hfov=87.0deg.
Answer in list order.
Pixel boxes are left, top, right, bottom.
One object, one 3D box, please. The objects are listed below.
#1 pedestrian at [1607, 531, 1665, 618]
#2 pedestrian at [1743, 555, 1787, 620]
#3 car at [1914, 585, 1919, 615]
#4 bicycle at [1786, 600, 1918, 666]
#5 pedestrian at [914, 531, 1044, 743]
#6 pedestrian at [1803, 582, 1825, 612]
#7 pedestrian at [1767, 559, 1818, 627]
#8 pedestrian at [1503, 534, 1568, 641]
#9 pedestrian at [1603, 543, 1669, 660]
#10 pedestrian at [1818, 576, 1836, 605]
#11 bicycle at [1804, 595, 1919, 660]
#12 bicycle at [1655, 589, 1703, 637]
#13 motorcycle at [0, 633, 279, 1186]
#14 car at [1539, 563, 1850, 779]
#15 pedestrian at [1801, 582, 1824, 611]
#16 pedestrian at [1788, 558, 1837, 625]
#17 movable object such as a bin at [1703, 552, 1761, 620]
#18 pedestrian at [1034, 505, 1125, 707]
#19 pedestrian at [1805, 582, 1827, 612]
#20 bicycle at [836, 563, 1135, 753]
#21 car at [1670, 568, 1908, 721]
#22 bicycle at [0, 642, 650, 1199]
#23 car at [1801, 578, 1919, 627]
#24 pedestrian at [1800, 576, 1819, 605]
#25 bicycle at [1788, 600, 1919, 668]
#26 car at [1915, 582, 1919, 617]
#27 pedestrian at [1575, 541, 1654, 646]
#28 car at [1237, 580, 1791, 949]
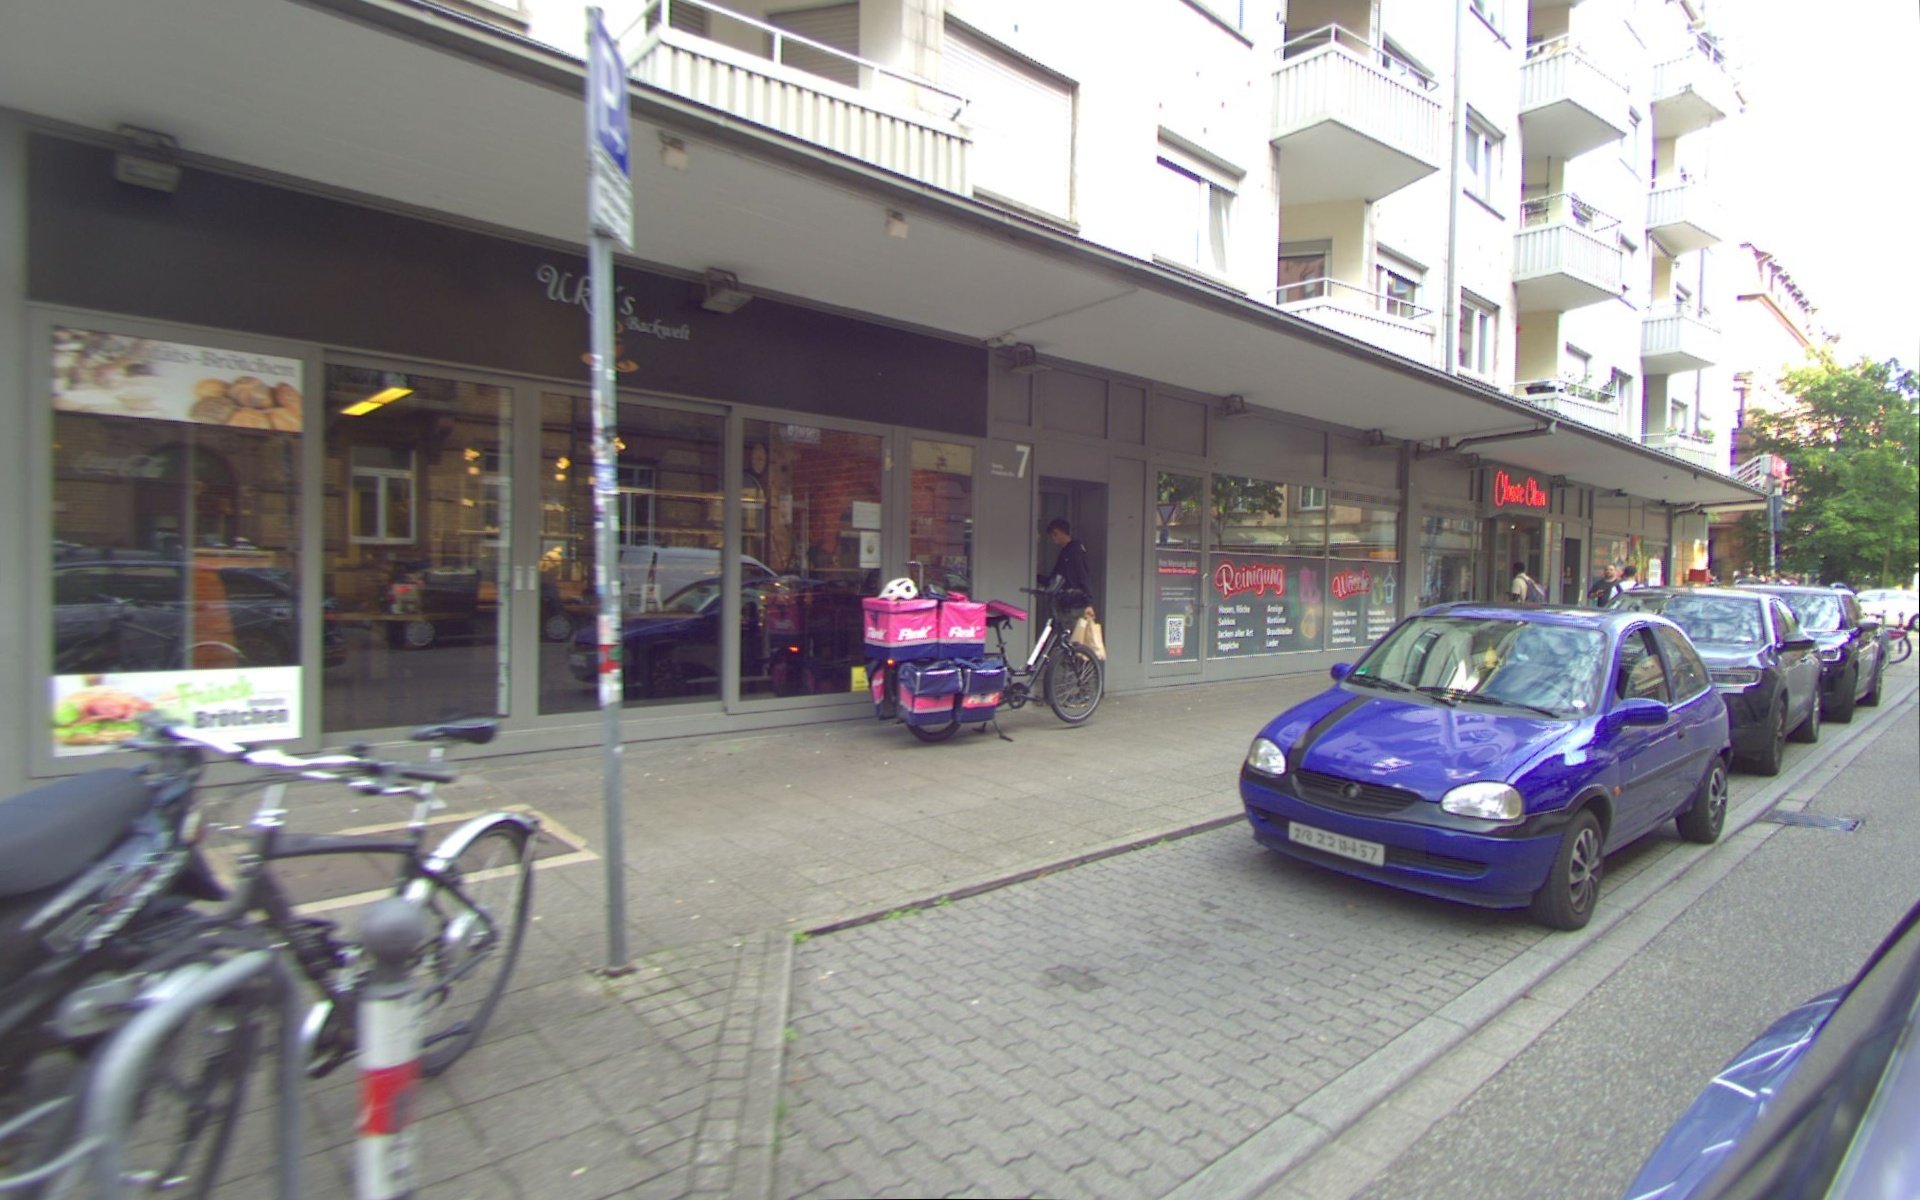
[{"bbox_3d":[13.242,-0.507,19.822,0.700,1.652,0.723,0,4,-44],"label":"pedestrian"},{"bbox_3d":[23.370,-0.360,29.393,0.645,1.818,0.656,2,3,-29],"label":"pedestrian"},{"bbox_3d":[45.492,0.129,45.391,3.548,1.397,1.502,4,3,23],"label":"car"},{"bbox_3d":[16.882,0.602,19.209,1.785,1.083,0.561,5,3,39],"label":"bicycle"},{"bbox_3d":[0.153,0.268,8.192,0.767,1.608,0.645,0,3,-40],"label":"pedestrian"},{"bbox_3d":[38.980,-0.149,46.177,0.725,1.332,0.514,1,0,36],"label":"pedestrian"},{"bbox_3d":[23.359,-0.201,28.406,0.619,1.818,0.716,3,3,-9],"label":"pedestrian"},{"bbox_3d":[9.937,-0.233,17.506,0.809,1.768,0.710,4,3,25],"label":"pedestrian"},{"bbox_3d":[10.473,0.015,15.668,1.107,1.748,0.612,0,0,-43],"label":"pedestrian"},{"bbox_3d":[41.183,-0.439,48.076,0.462,1.343,0.617,2,2,24],"label":"pedestrian"},{"bbox_3d":[18.549,0.545,20.651,0.892,1.138,1.885,0,4,-44],"label":"bicycle"},{"bbox_3d":[17.358,0.290,24.462,0.672,1.055,1.717,2,3,28],"label":"bicycle"},{"bbox_3d":[-2.361,0.705,2.227,0.597,1.108,1.666,2,3,0],"label":"motorcycle"},{"bbox_3d":[7.059,0.505,9.576,3.837,1.596,1.690,0,3,-44],"label":"car"},{"bbox_3d":[39.336,-0.151,46.704,0.725,1.332,0.600,1,0,36],"label":"pedestrian"},{"bbox_3d":[24.059,-0.260,28.582,0.704,1.818,0.630,5,3,13],"label":"pedestrian"},{"bbox_3d":[20.911,-0.396,27.406,2.382,1.766,0.781,0,2,-42],"label":"movable object such as a bin"},{"bbox_3d":[1.148,0.049,9.838,0.631,1.883,0.711,1,1,-13],"label":"pedestrian"},{"bbox_3d":[38.695,-0.146,45.754,0.725,1.332,0.514,1,0,36],"label":"pedestrian"},{"bbox_3d":[0.276,0.389,8.302,2.456,1.306,0.920,0,4,-42],"label":"bicycle"},{"bbox_3d":[10.742,0.464,13.026,3.857,1.625,1.795,0,2,-42],"label":"car"},{"bbox_3d":[-1.347,0.746,2.370,0.671,1.108,1.771,2,3,0],"label":"bicycle"},{"bbox_3d":[33.404,0.091,36.200,4.799,1.617,1.923,2,1,32],"label":"car"},{"bbox_3d":[40.947,-0.450,48.784,0.462,1.343,0.617,2,2,24],"label":"pedestrian"},{"bbox_3d":[16.485,0.600,18.683,1.785,1.083,0.578,5,3,39],"label":"bicycle"},{"bbox_3d":[47.135,0.125,47.045,3.552,1.634,1.501,4,3,25],"label":"car"},{"bbox_3d":[11.569,-0.124,17.893,1.032,1.768,0.850,0,4,-44],"label":"pedestrian"},{"bbox_3d":[3.491,0.659,6.033,3.960,1.457,1.599,0,3,-41],"label":"car"}]
